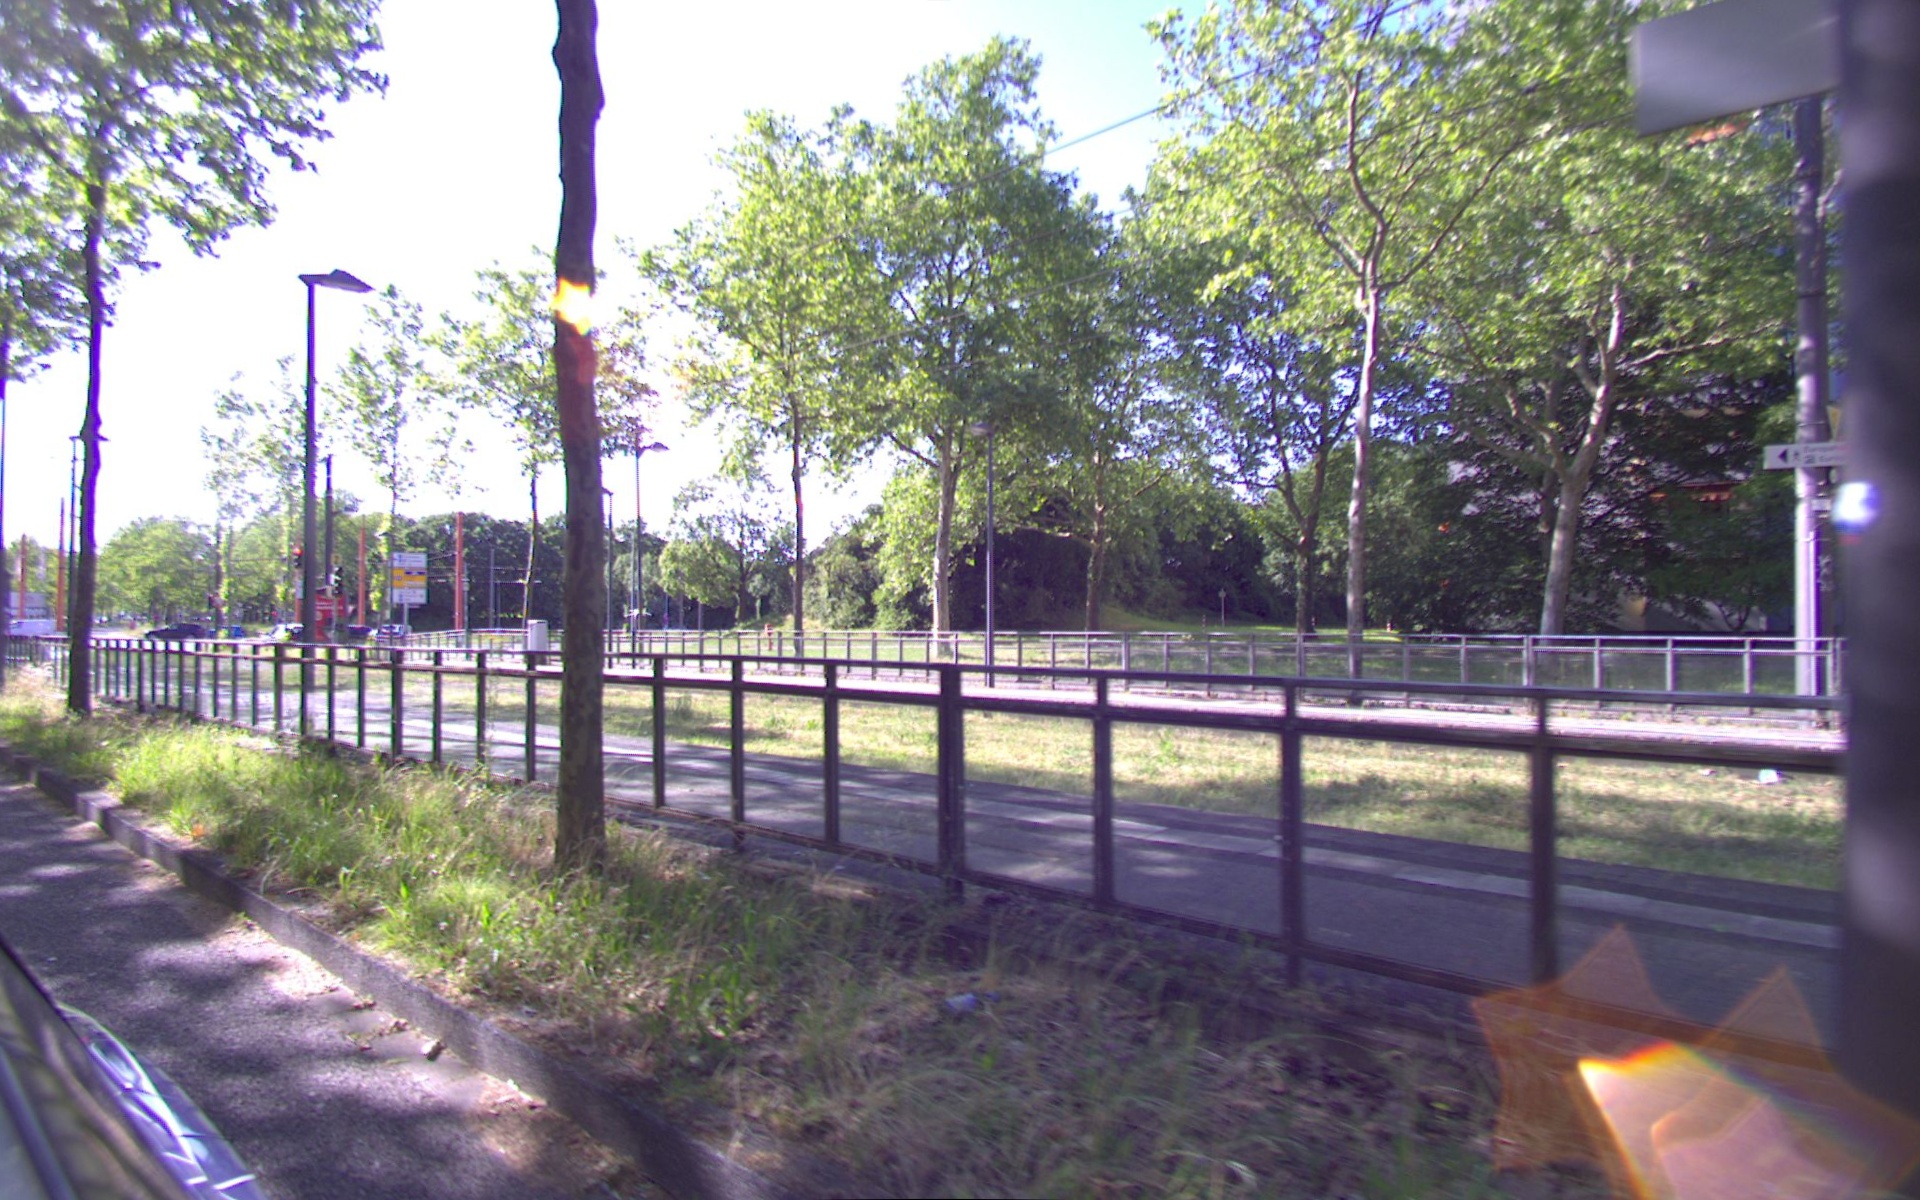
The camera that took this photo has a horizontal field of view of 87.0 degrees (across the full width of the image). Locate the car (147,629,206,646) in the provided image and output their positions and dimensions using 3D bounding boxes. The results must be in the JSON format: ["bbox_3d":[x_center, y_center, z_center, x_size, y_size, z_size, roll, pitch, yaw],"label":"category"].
[{"bbox_3d":[-71.496,3.381,92.424,3.930,1.522,1.806,1,-2,-23],"label":"car"}]

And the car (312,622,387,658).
[{"bbox_3d":[-28.660,1.854,47.454,4.264,1.620,1.776,-1,-2,41],"label":"car"}]

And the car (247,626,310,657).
[{"bbox_3d":[-37.118,2.253,55.111,4.230,1.629,1.776,-2,-2,41],"label":"car"}]

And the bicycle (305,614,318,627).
[{"bbox_3d":[-58.472,1.848,91.229,1.800,1.116,0.493,-1,-2,43],"label":"bicycle"}]

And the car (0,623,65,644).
[{"bbox_3d":[-83.500,2.975,90.785,4.477,1.849,1.806,1,-2,-24],"label":"car"}]

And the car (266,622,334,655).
[{"bbox_3d":[-33.563,1.936,51.462,4.231,1.629,1.776,-1,-2,41],"label":"car"}]

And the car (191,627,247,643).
[{"bbox_3d":[-70.556,3.304,96.426,3.930,1.522,1.806,1,-2,-23],"label":"car"}]

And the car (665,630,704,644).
[{"bbox_3d":[-30.545,4.150,112.301,3.930,1.522,1.806,1,-2,-24],"label":"car"}]

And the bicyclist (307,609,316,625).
[{"bbox_3d":[-58.472,1.505,91.238,0.778,1.458,0.493,-1,-2,43],"label":"bicyclist"}]

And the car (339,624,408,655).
[{"bbox_3d":[-30.427,2.022,52.463,4.264,1.522,1.776,-1,-2,41],"label":"car"}]
